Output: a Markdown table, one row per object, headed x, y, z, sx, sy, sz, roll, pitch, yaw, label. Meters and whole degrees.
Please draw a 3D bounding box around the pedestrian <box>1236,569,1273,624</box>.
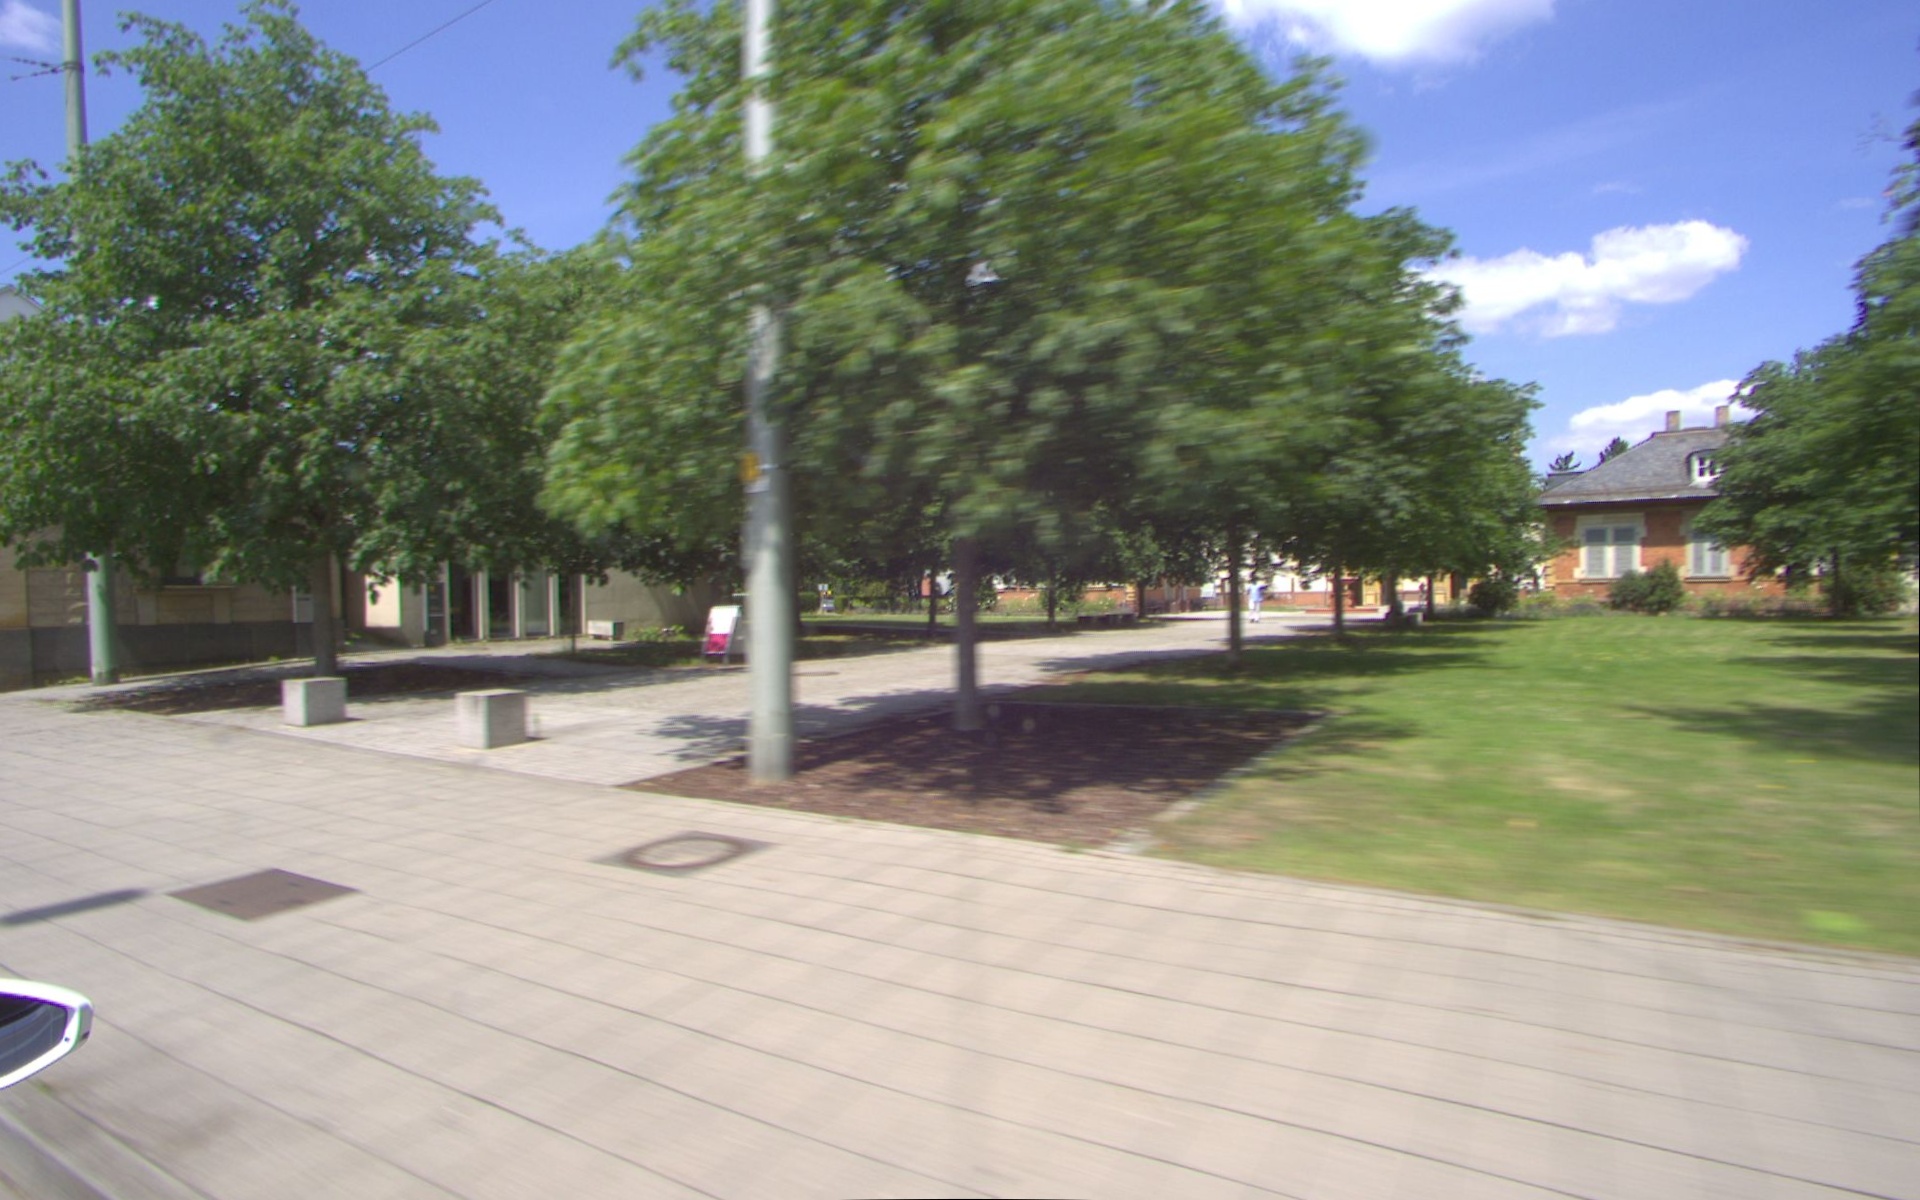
| x | y | z | sx | sy | sz | roll | pitch | yaw | label |
| --- | --- | --- | --- | --- | --- | --- | --- | --- | --- |
| 11.158 | -0.128 | 37.946 | 1.237 | 2.041 | 0.822 | -1 | 2 | 21 | pedestrian |
